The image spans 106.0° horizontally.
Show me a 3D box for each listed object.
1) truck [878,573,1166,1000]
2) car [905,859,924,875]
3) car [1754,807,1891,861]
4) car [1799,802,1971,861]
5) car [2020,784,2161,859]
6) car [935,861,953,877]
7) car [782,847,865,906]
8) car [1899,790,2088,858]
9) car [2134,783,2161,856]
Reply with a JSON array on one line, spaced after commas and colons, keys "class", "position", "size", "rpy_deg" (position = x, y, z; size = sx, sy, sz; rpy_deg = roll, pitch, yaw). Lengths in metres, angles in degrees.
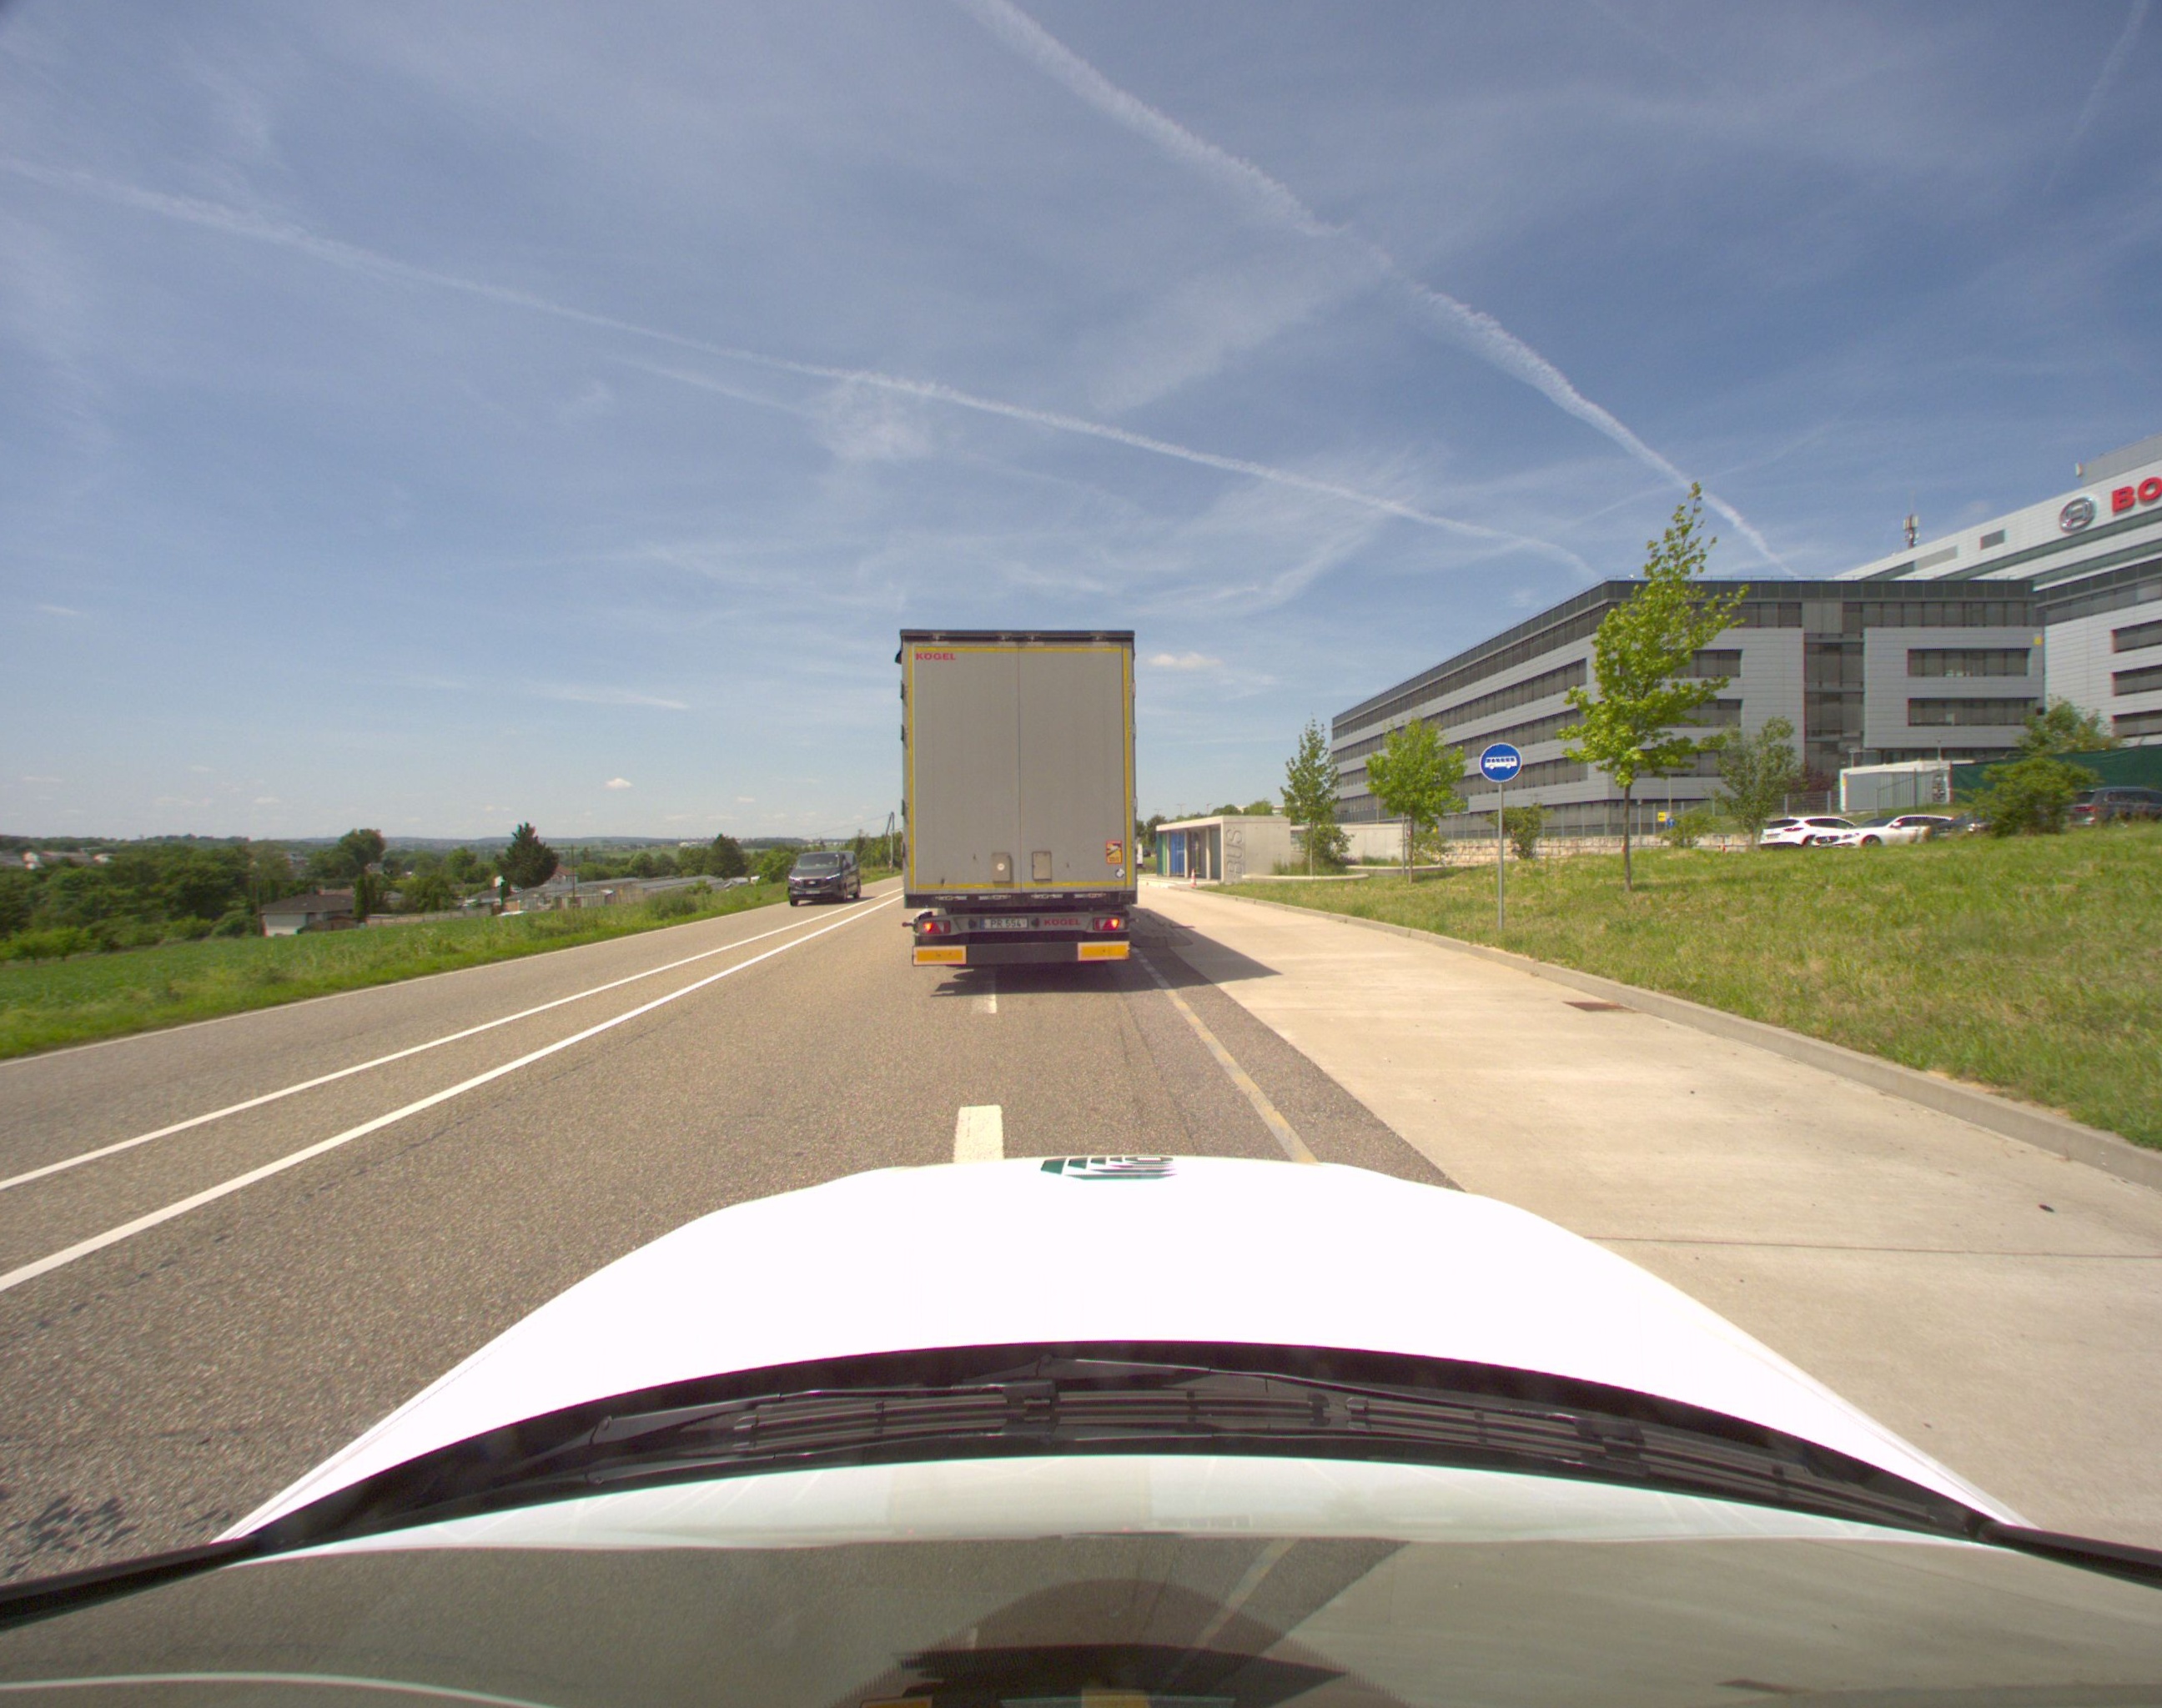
[{"class": "truck", "position": [-0.849, -0.726, 12.937], "size": [2.901, 4.410, 8.849], "rpy_deg": [-1, 0, -3]}, {"class": "car", "position": [-20.932, 1.623, 102.482], "size": [1.993, 1.787, 3.988], "rpy_deg": [-3, 0, -8]}, {"class": "car", "position": [30.035, -0.775, 33.049], "size": [3.979, 1.814, 1.753], "rpy_deg": [-4, -1, -4]}, {"class": "car", "position": [29.968, -0.804, 30.439], "size": [4.541, 1.766, 1.975], "rpy_deg": [-4, -1, -4]}, {"class": "car", "position": [30.252, -0.971, 23.677], "size": [3.979, 1.921, 1.753], "rpy_deg": [-4, -1, -4]}, {"class": "car", "position": [-17.256, 1.845, 102.515], "size": [1.993, 1.815, 4.284], "rpy_deg": [-3, 0, -8]}, {"class": "car", "position": [-9.866, 0.817, 31.628], "size": [1.992, 1.978, 5.266], "rpy_deg": [-3, 0, -7]}, {"class": "car", "position": [29.548, -0.942, 26.462], "size": [3.979, 1.814, 1.975], "rpy_deg": [-4, -1, -4]}, {"class": "car", "position": [30.624, -1.090, 21.313], "size": [3.979, 1.921, 1.753], "rpy_deg": [-4, -1, -4]}]
